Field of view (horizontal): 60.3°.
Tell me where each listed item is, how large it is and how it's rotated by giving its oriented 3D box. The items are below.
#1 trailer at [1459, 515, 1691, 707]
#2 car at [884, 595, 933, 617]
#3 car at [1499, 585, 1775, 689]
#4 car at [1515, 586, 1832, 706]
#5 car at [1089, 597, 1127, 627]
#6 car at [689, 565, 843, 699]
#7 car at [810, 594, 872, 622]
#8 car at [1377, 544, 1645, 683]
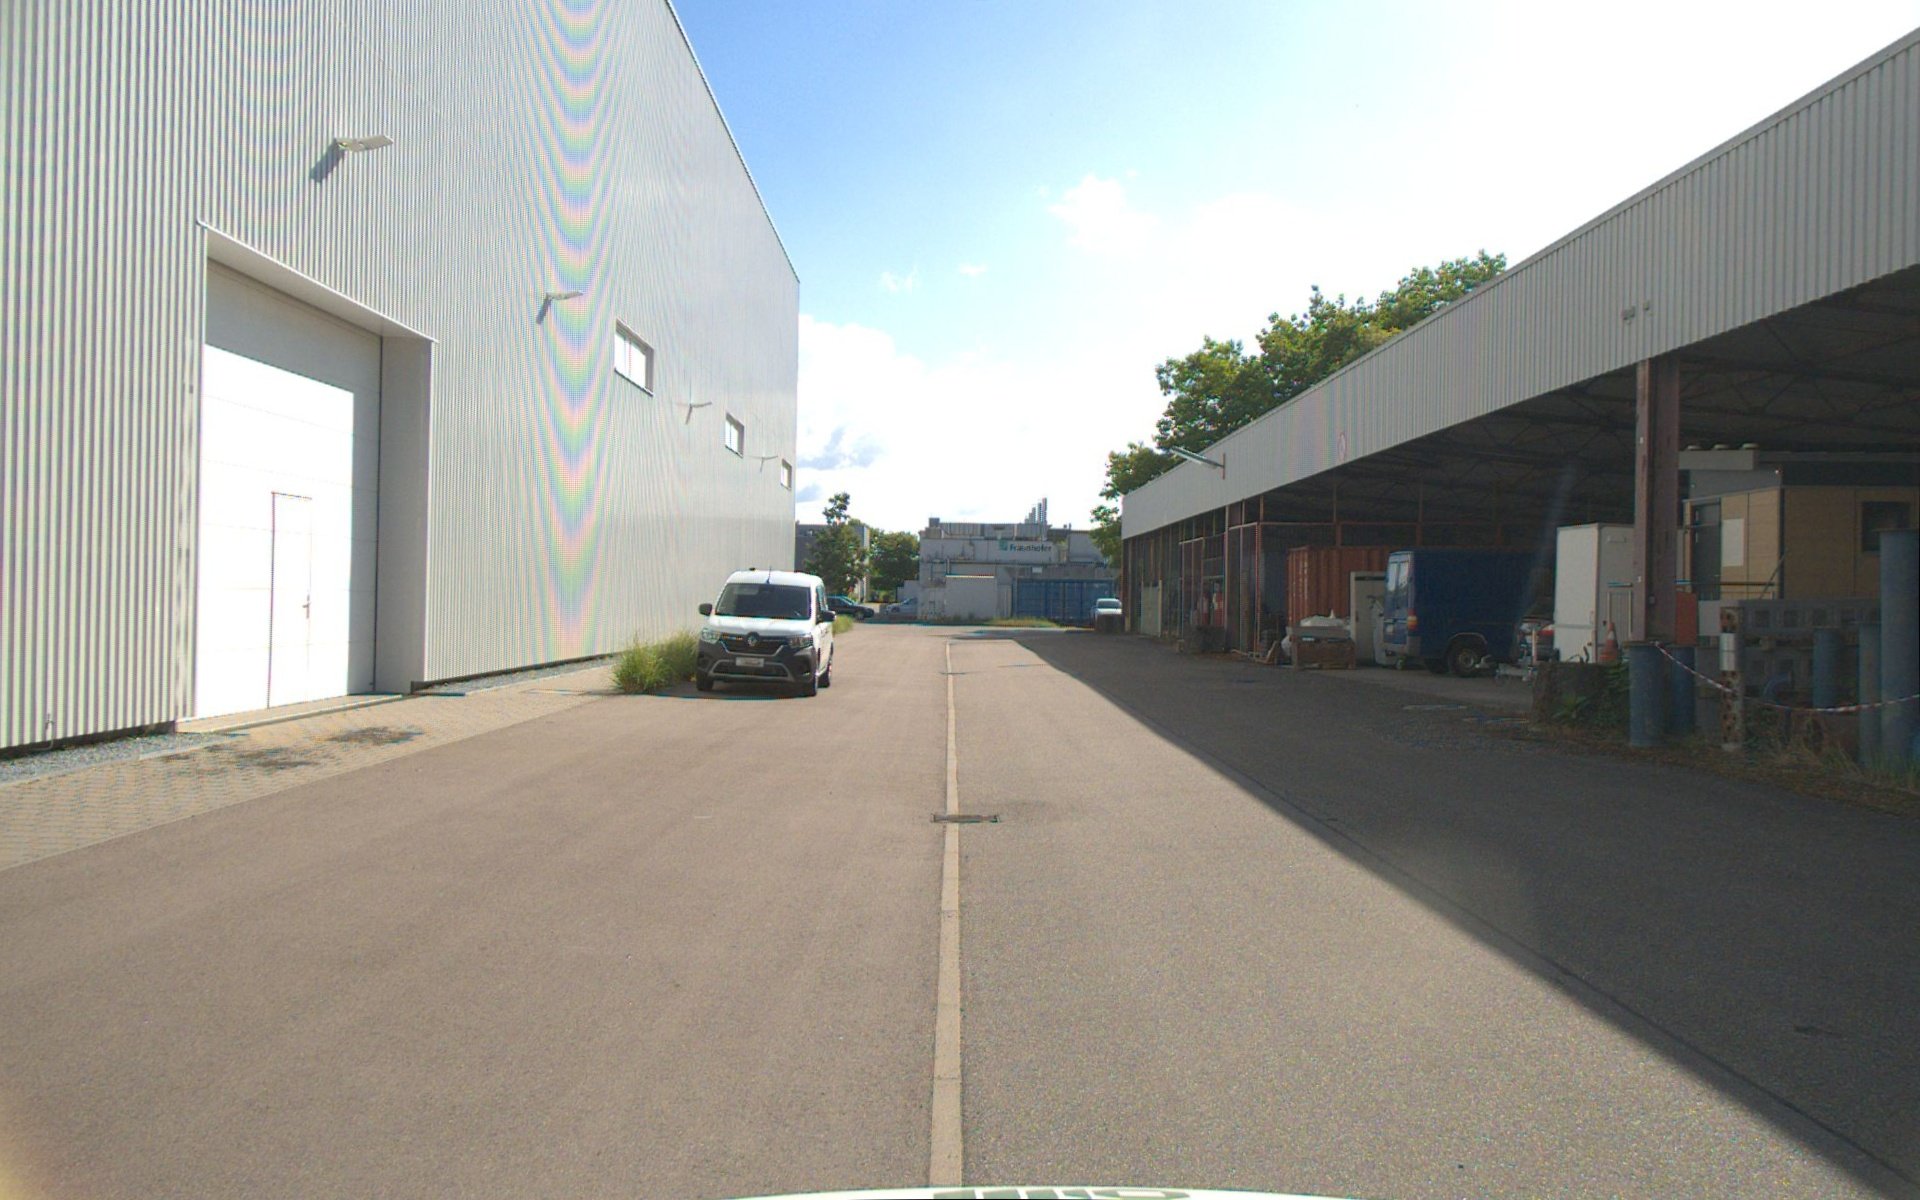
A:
[{"bbox_3d":[8.186,0.155,22.180,2.472,2.441,1.727,1,-1,0],"label":"trailer"},{"bbox_3d":[-4.214,0.475,135.595,3.906,1.626,1.847,2,-2,-2],"label":"car"},{"bbox_3d":[11.355,0.639,27.903,3.955,1.551,1.684,2,-2,0],"label":"car"},{"bbox_3d":[10.475,0.683,24.469,3.955,1.551,1.684,2,-2,0],"label":"car"},{"bbox_3d":[8.511,0.685,95.439,1.921,1.592,4.060,2,1,1],"label":"car"},{"bbox_3d":[-2.895,0.439,25.516,1.781,1.818,4.405,2,0,0],"label":"car"},{"bbox_3d":[-7.749,0.519,107.675,3.906,1.626,1.741,2,-2,-2],"label":"car"},{"bbox_3d":[10.249,0.282,30.989,4.342,2.350,1.915,2,-2,0],"label":"car"}]
